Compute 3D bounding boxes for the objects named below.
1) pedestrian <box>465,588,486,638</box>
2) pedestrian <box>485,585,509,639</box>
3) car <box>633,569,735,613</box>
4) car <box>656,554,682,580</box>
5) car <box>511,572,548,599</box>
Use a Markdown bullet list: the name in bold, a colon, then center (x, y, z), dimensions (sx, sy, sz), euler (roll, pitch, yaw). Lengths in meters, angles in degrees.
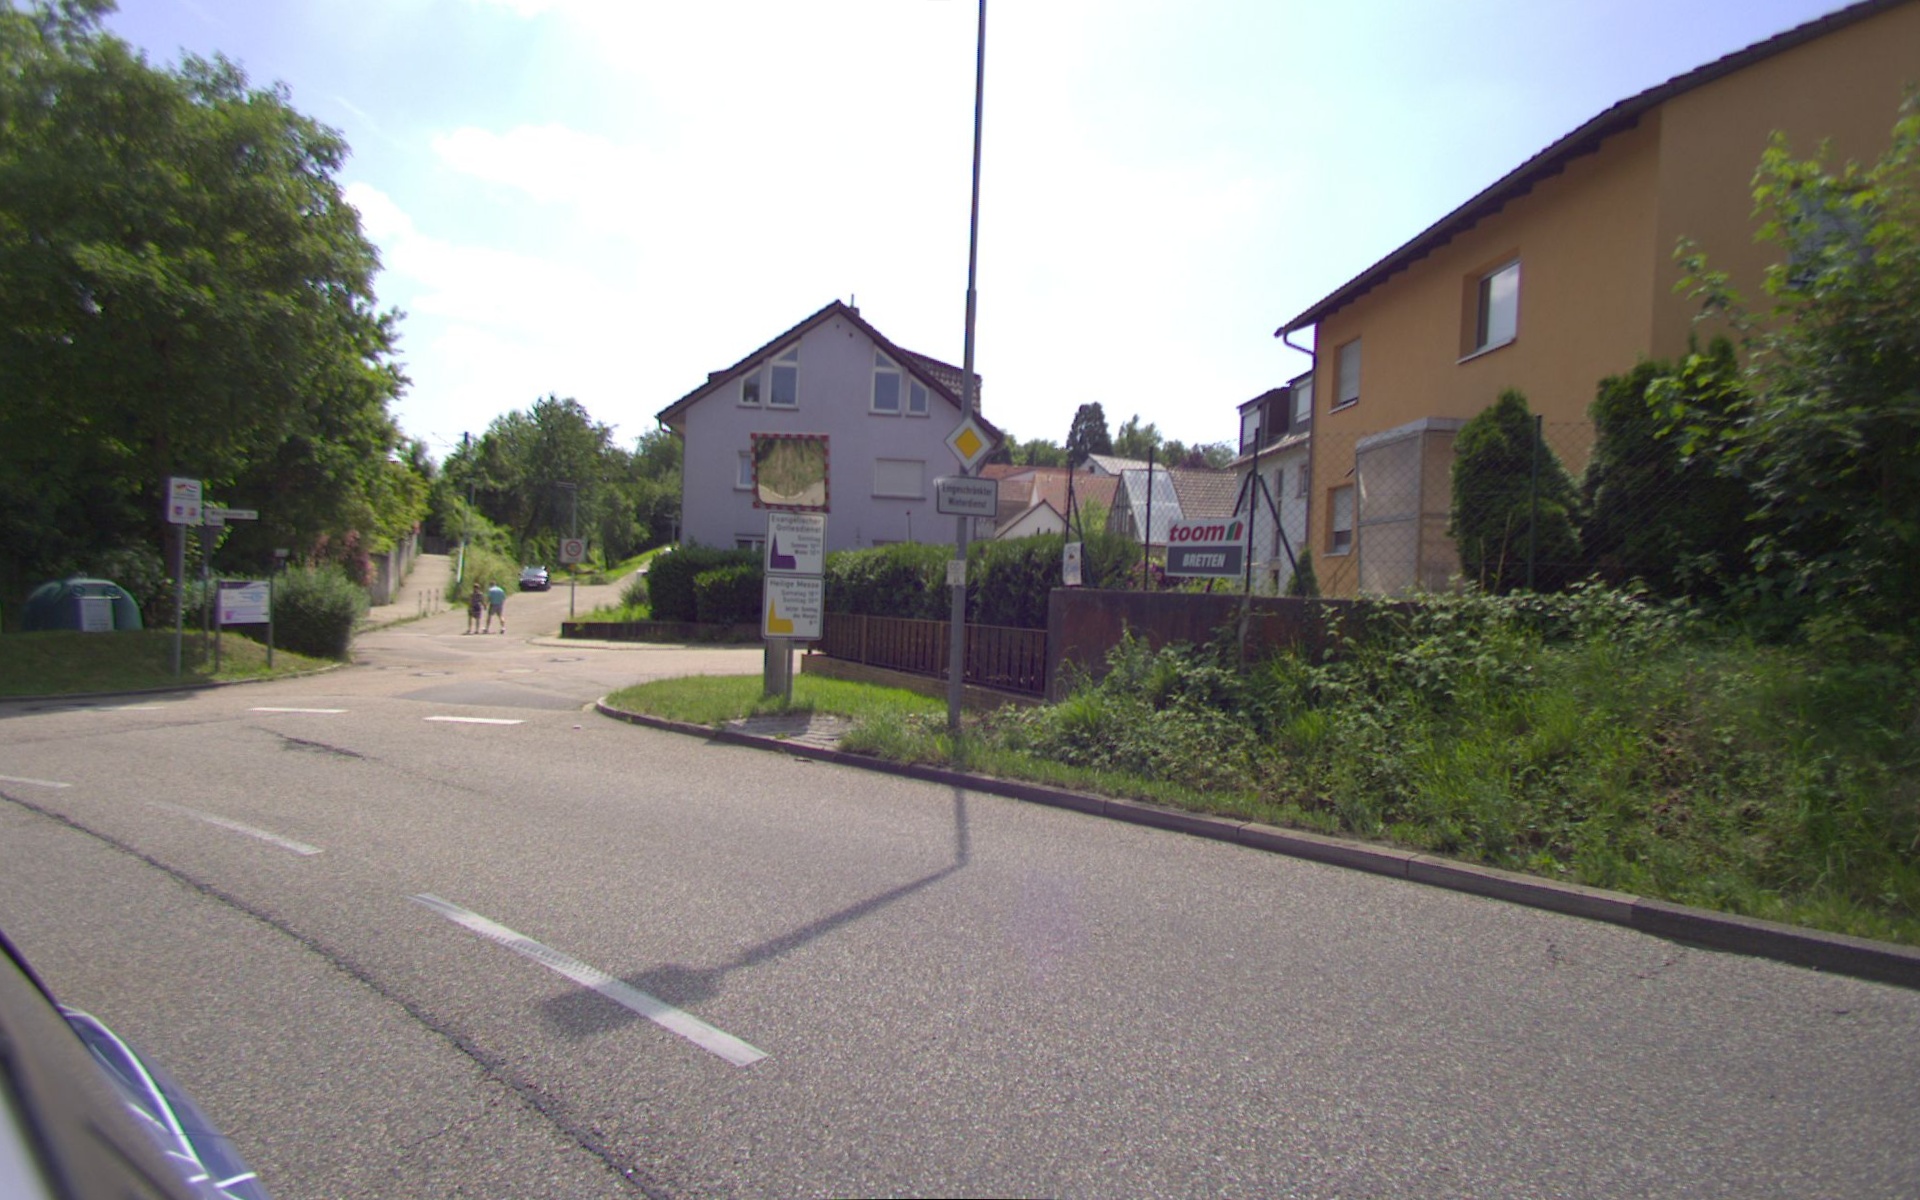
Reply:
- **pedestrian**: center (-15.631, 0.409, 32.652), dimensions (0.564, 1.566, 0.601), euler (-2, 1, -25)
- **pedestrian**: center (-15.288, 0.386, 33.431), dimensions (0.675, 1.725, 0.792), euler (-2, 1, -25)
- **car**: center (-13.744, -0.442, 50.689), dimensions (4.639, 2.029, 2.003), euler (-1, 0, -6)
- **car**: center (-24.553, -2.776, 85.518), dimensions (1.966, 2.029, 4.726), euler (-1, 0, -15)
- **car**: center (-27.365, -0.916, 64.443), dimensions (1.824, 1.655, 4.406), euler (-1, 0, -18)
